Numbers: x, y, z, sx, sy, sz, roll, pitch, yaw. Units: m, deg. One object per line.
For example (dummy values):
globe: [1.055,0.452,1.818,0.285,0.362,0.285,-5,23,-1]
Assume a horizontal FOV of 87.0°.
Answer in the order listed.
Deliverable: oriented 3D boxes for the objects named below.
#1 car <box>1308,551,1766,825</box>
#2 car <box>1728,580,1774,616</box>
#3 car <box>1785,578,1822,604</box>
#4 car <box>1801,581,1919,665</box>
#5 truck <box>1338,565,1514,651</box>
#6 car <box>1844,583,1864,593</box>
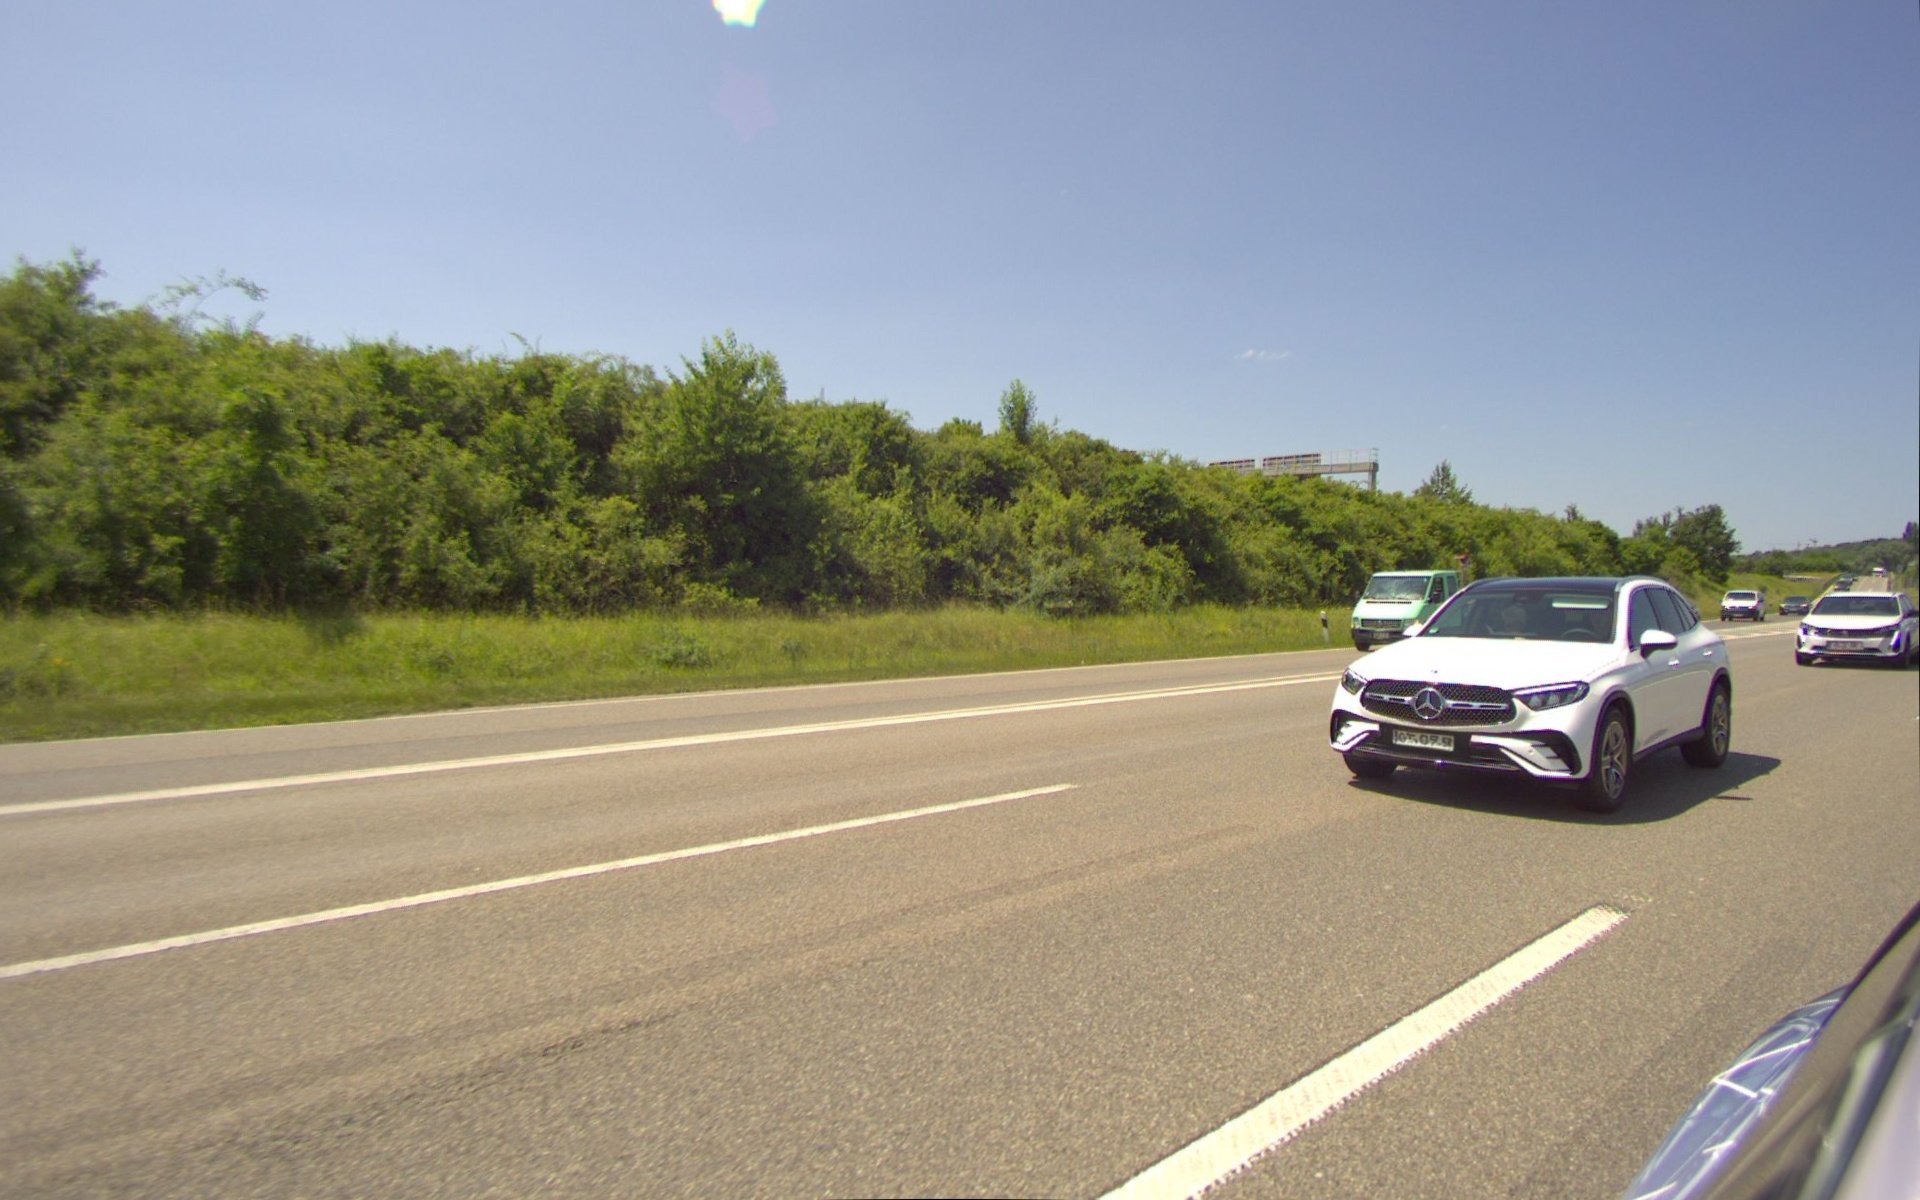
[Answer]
car: [4.969,0.528,8.416,4.555,1.677,1.908,0,0,-41]
car: [50.019,-0.157,63.944,1.992,2.199,4.819,1,1,42]
car: [71.680,-0.772,85.978,3.935,2.039,1.995,-2,1,-44]
car: [20.261,0.421,22.365,4.537,1.650,1.896,-2,1,-41]
truck: [12.864,0.139,27.719,6.014,2.118,2.168,0,1,-42]
car: [145.105,-1.959,164.234,4.539,1.650,1.980,-2,1,-43]
